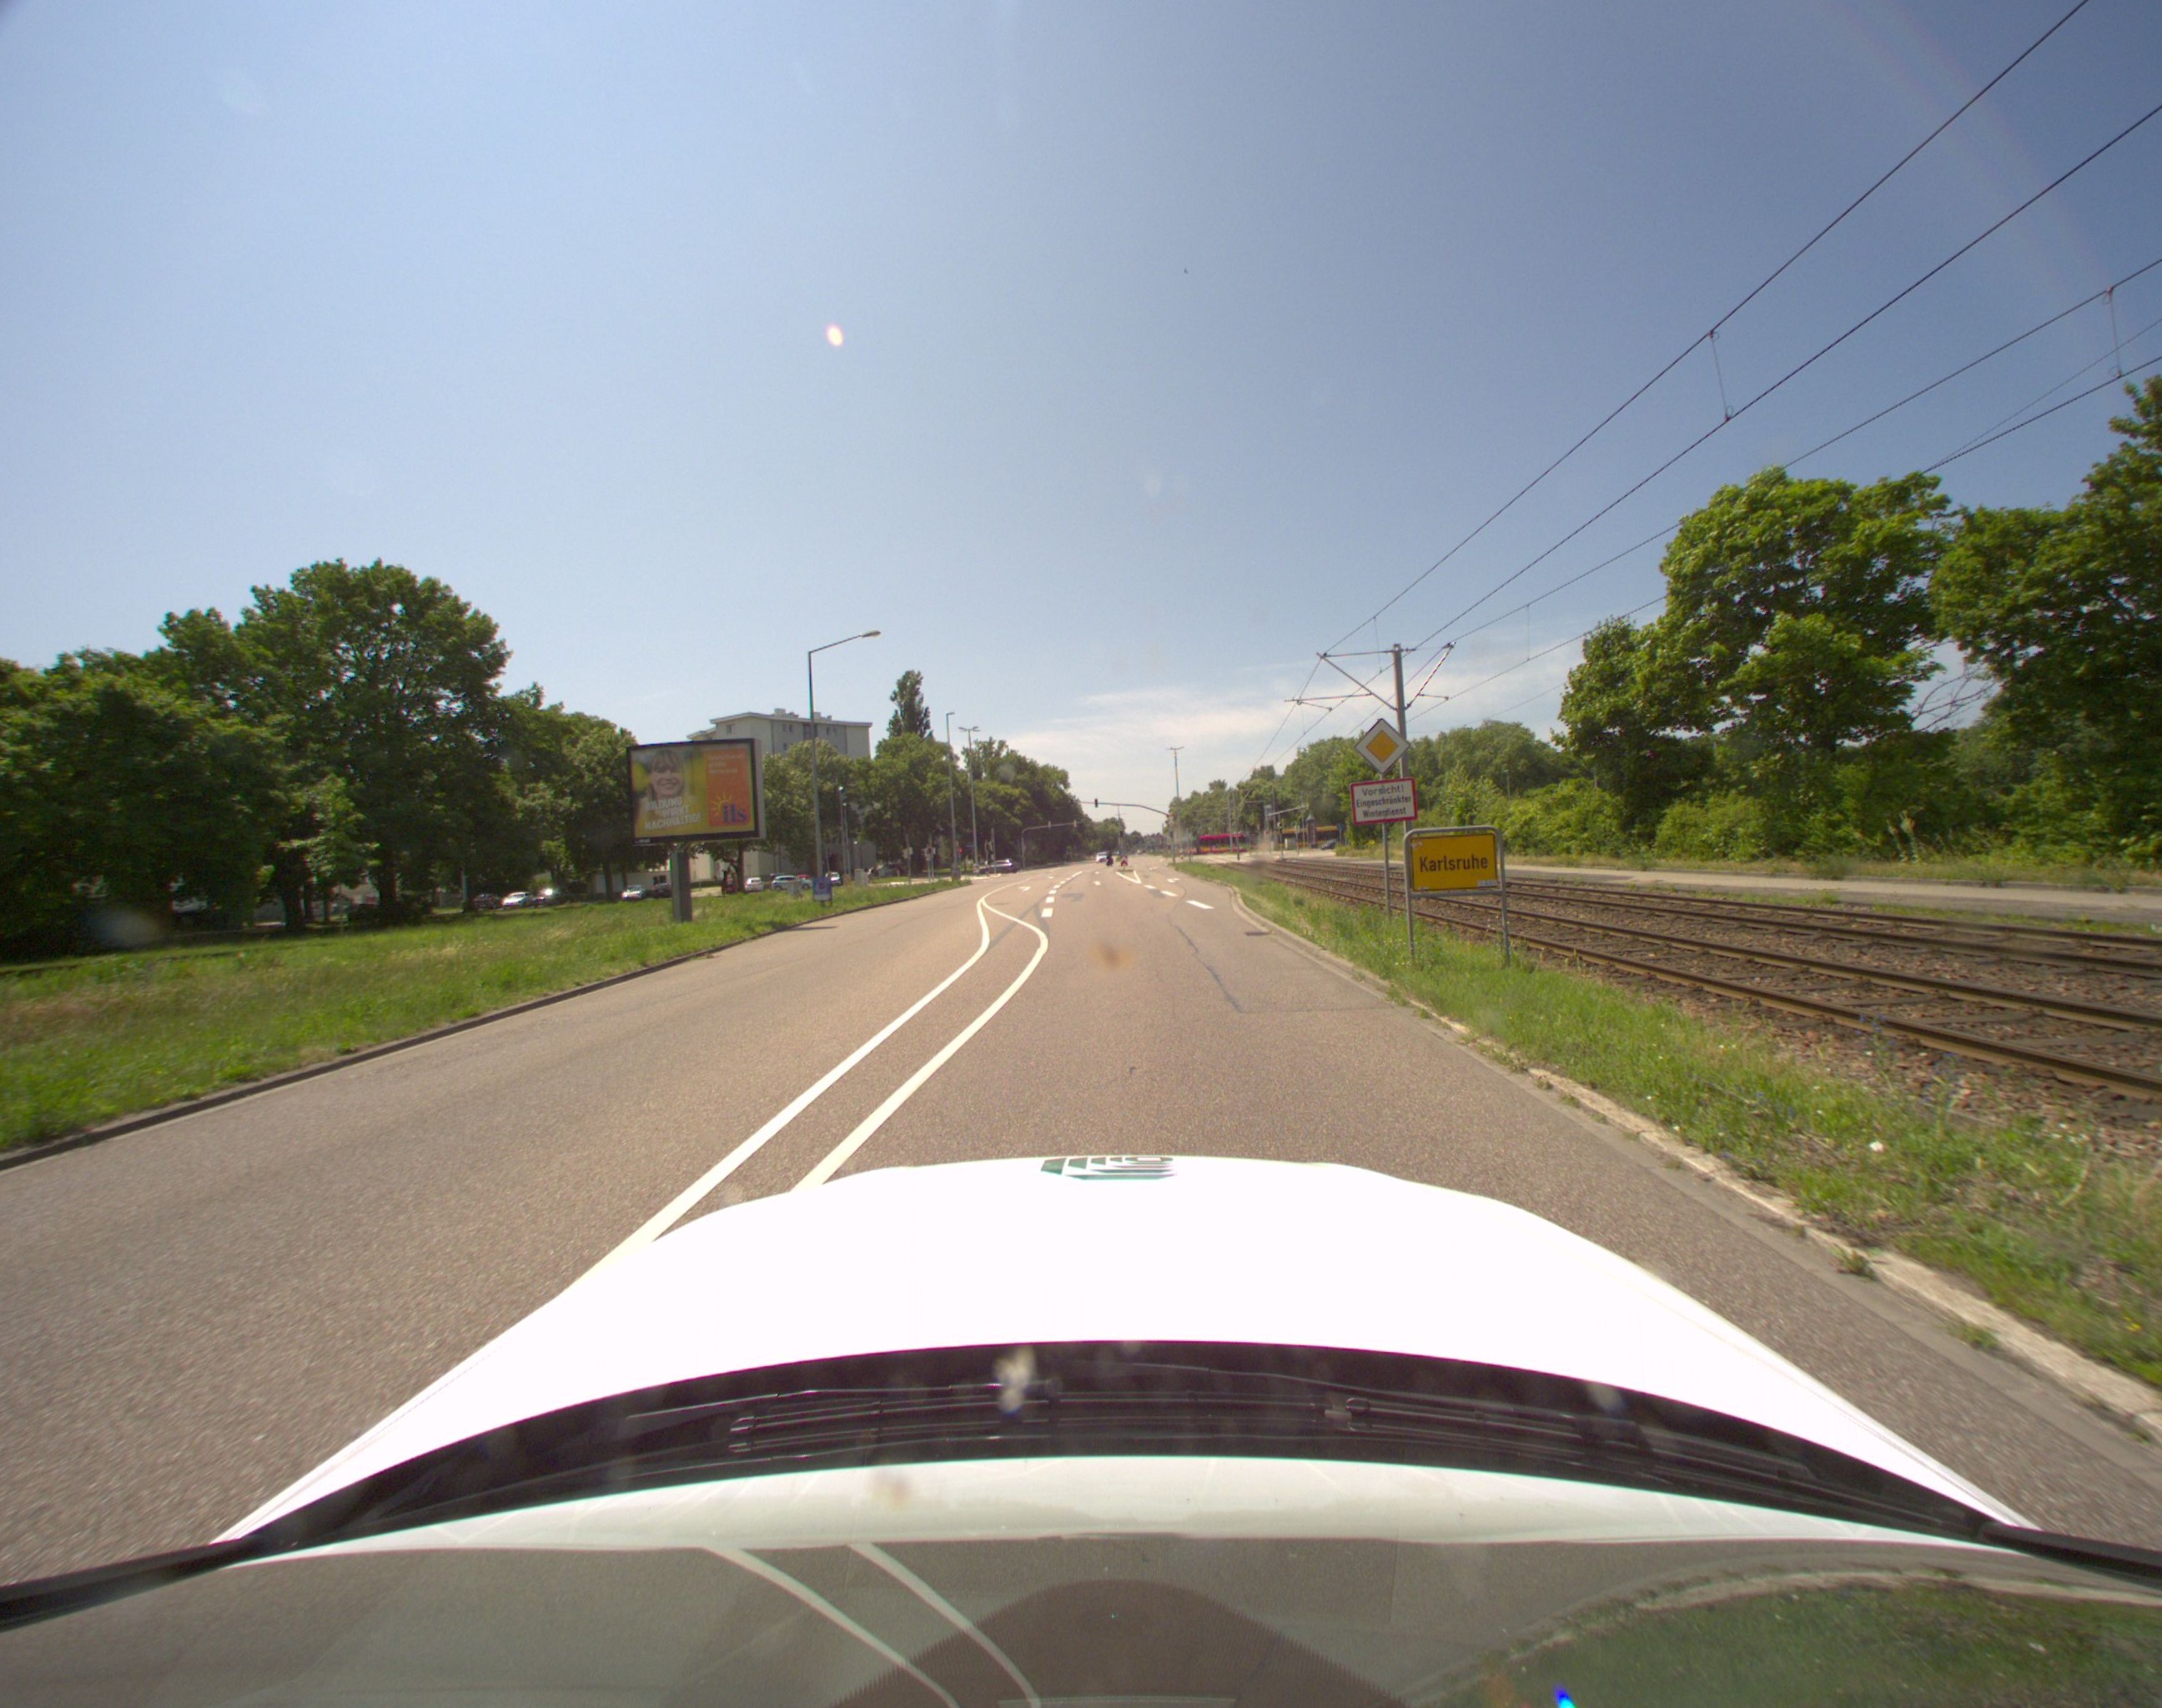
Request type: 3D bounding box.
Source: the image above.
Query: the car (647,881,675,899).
[{"bbox_3d":[-43.283,3.677,83.985,1.852,1.711,3.974,-3,0,-19],"label":"car"}]

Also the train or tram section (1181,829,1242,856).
[{"bbox_3d":[22.893,-1.968,144.182,2.933,3.812,12.943,-1,-3,-31],"label":"train or tram section"}]

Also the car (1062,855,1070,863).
[{"bbox_3d":[-3.952,1.279,211.840,1.987,2.014,4.000,-1,-1,1],"label":"car"}]

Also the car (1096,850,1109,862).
[{"bbox_3d":[3.192,0.234,120.692,1.777,1.628,3.869,-4,0,4],"label":"car"}]

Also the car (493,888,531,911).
[{"bbox_3d":[-55.173,4.375,79.048,1.852,1.947,3.974,-3,0,-19],"label":"car"}]

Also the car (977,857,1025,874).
[{"bbox_3d":[-8.453,1.250,85.629,4.573,1.499,1.924,-3,0,24],"label":"car"}]

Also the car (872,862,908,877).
[{"bbox_3d":[-26.840,2.179,114.391,1.769,1.768,4.577,-4,0,43],"label":"car"}]

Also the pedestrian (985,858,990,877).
[{"bbox_3d":[-8.761,1.274,76.260,0.381,1.687,0.486,-4,0,0],"label":"pedestrian"}]

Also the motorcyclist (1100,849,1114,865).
[{"bbox_3d":[2.660,0.286,83.238,0.782,1.643,1.219,-3,0,30],"label":"motorcyclist"}]

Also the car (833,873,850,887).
[{"bbox_3d":[-26.444,2.883,89.798,1.628,1.380,3.975,-3,0,-18],"label":"car"}]

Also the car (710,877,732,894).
[{"bbox_3d":[-37.684,3.288,85.121,1.856,1.668,3.965,-4,0,-27],"label":"car"}]

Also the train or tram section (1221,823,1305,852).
[{"bbox_3d":[30.284,-2.684,136.012,13.280,3.812,2.942,-4,-3,34],"label":"train or tram section"}]

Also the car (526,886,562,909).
[{"bbox_3d":[-52.367,4.205,79.476,1.852,1.947,3.974,-3,0,-19],"label":"car"}]

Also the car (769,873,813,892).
[{"bbox_3d":[-27.784,2.711,78.101,3.900,1.468,1.763,-3,0,-22],"label":"car"}]

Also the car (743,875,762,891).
[{"bbox_3d":[-34.851,3.029,86.423,1.712,1.592,3.969,-3,0,-23],"label":"car"}]

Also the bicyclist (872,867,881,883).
[{"bbox_3d":[-19.666,2.027,78.339,0.666,1.537,0.627,-3,0,-19],"label":"bicyclist"}]

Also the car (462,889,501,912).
[{"bbox_3d":[-57.863,4.458,78.726,1.852,1.947,3.974,-3,0,-19],"label":"car"}]

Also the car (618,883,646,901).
[{"bbox_3d":[-45.650,3.842,82.837,1.693,1.562,3.814,-4,0,-18],"label":"car"}]

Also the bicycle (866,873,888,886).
[{"bbox_3d":[-19.620,2.420,78.328,1.870,1.093,0.642,-3,0,-20],"label":"bicycle"}]

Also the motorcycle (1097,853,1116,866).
[{"bbox_3d":[2.624,0.531,83.140,0.839,1.255,2.464,-3,0,31],"label":"motorcycle"}]

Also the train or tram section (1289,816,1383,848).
[{"bbox_3d":[40.742,-3.460,130.321,13.870,3.919,2.940,-4,-3,24],"label":"train or tram section"}]
